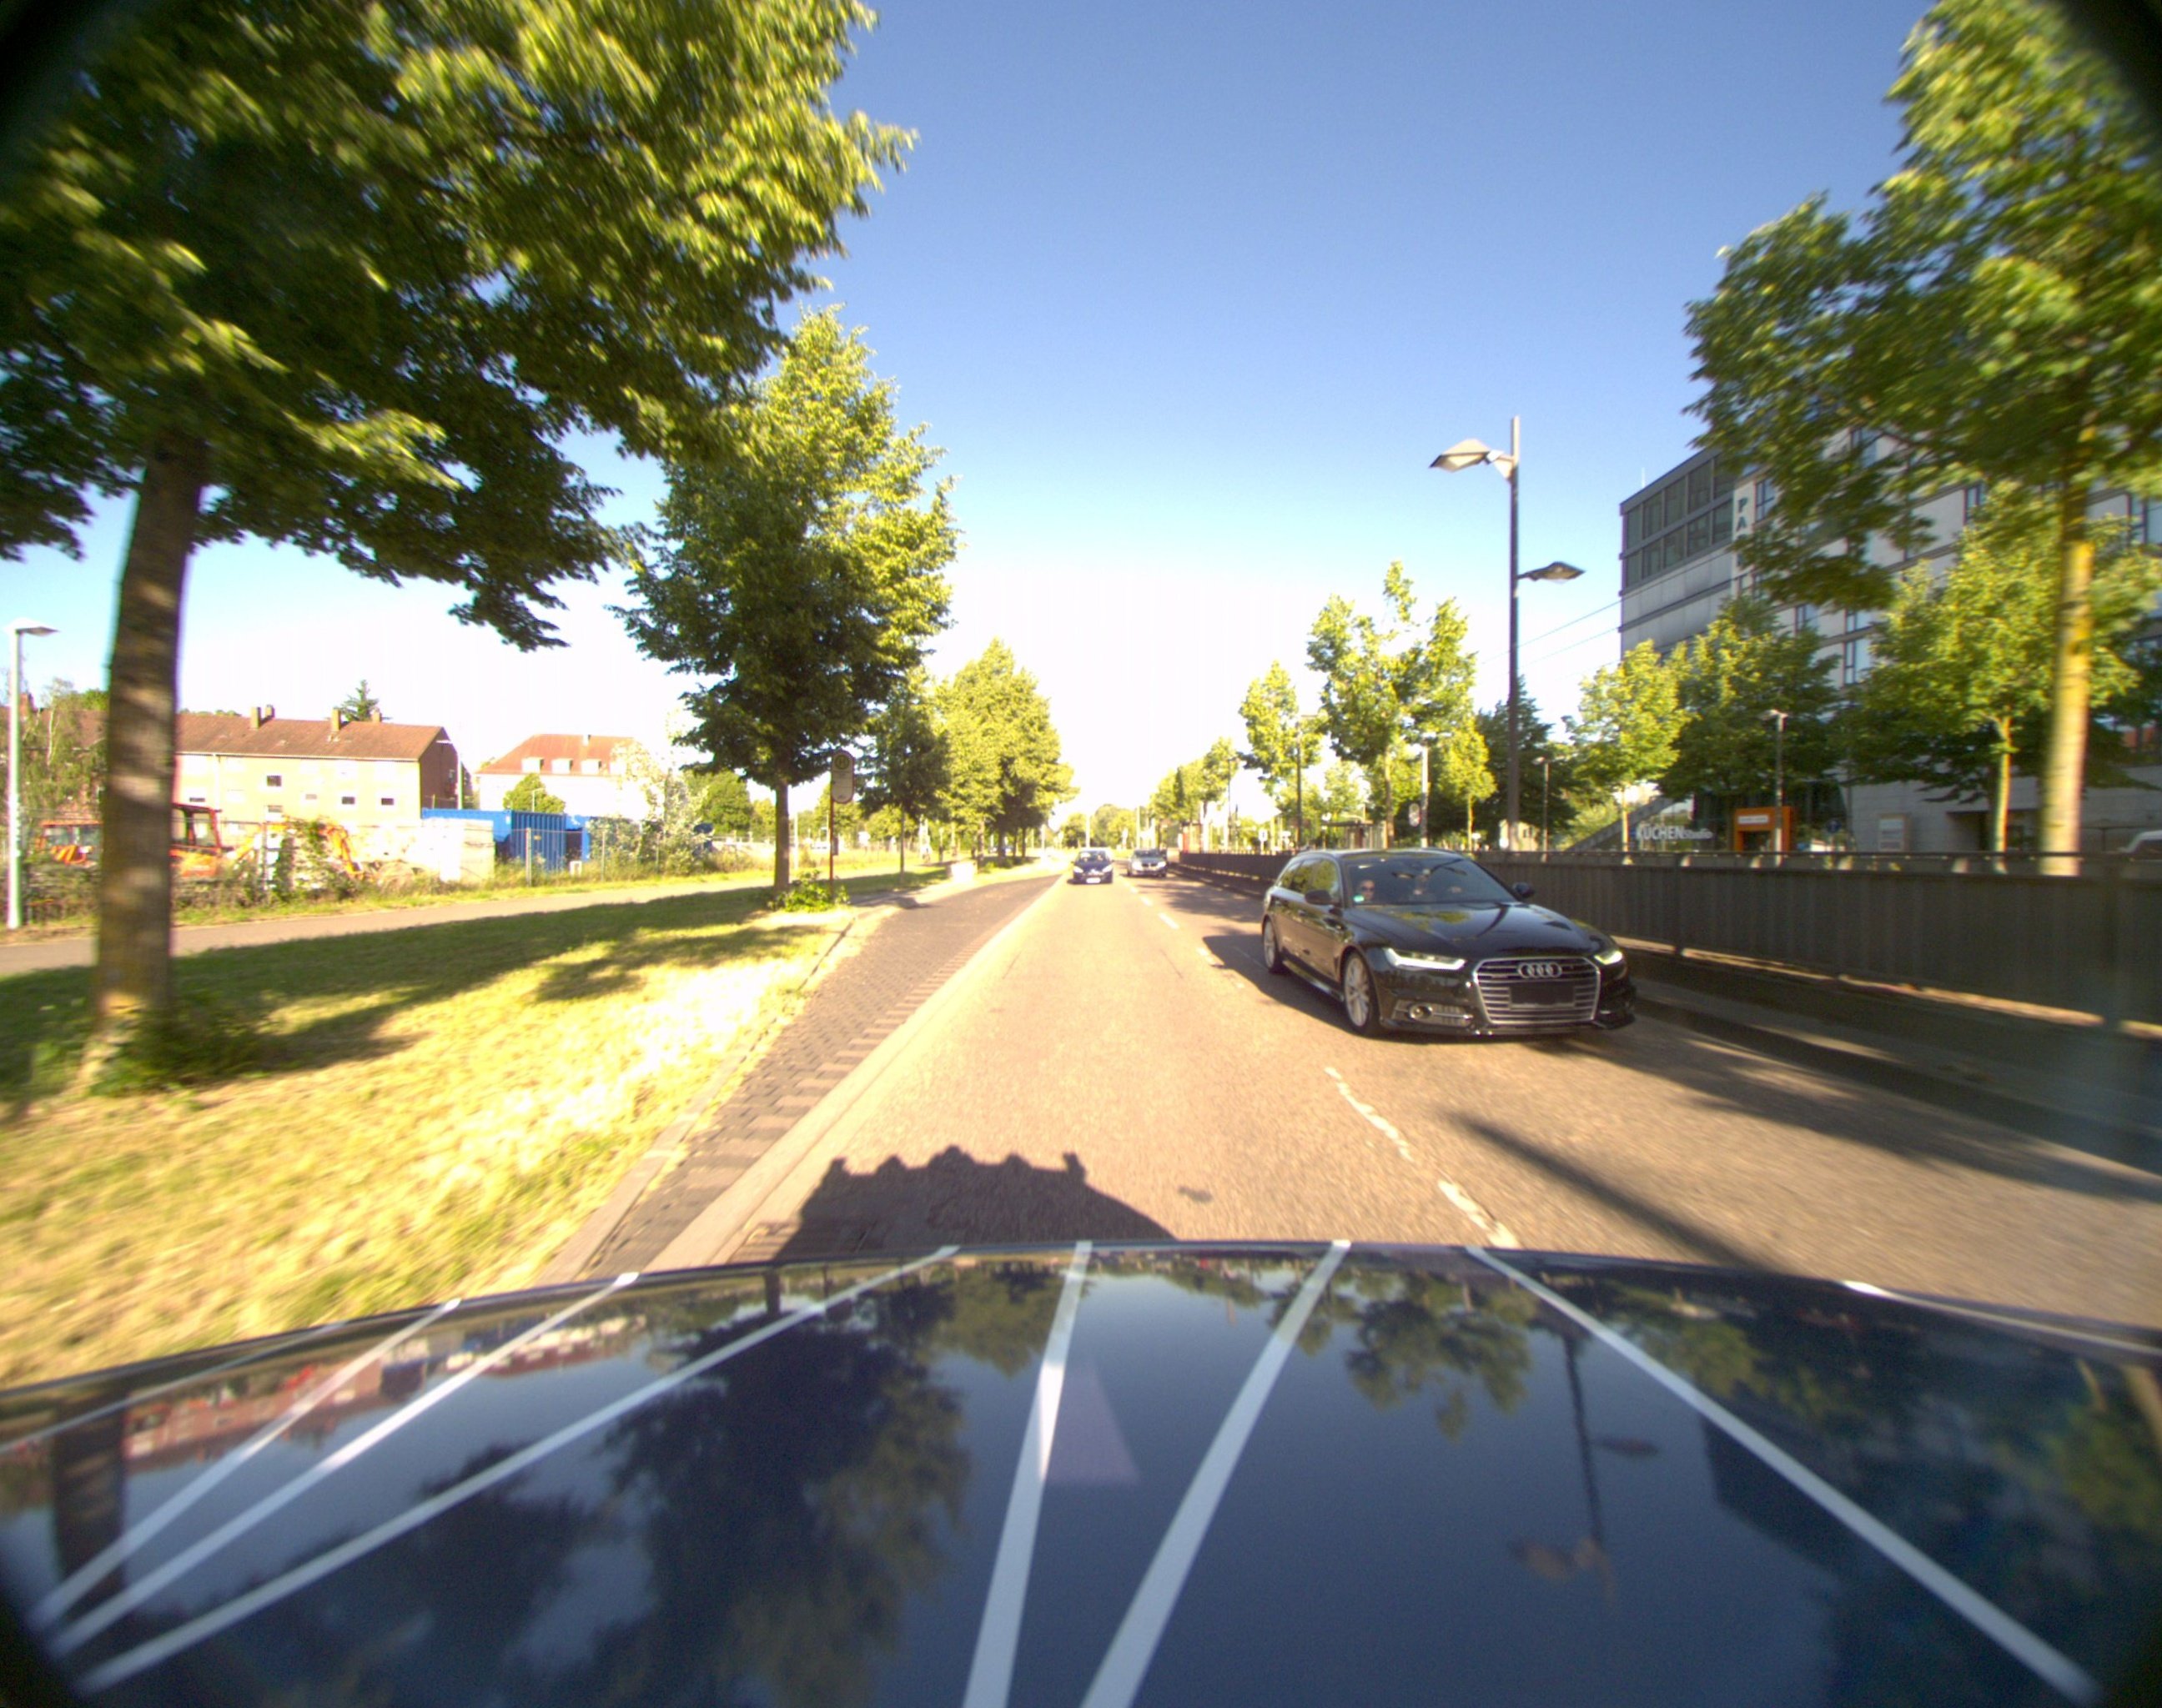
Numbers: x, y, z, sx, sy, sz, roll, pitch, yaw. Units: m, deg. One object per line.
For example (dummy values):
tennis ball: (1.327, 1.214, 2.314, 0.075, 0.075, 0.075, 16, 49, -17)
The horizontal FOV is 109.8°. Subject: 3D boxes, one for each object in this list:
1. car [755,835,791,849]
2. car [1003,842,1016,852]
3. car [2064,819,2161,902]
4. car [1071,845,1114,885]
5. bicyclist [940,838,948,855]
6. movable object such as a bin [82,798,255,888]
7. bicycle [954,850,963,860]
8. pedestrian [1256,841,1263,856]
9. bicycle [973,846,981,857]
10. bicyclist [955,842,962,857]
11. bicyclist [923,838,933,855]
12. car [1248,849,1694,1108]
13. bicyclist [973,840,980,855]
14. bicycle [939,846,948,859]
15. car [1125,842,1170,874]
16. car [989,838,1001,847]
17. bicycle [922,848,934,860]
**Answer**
car: (-45.357, -1.776, 111.829, 1.994, 2.002, 4.482, 2, 3, 41)
car: (-11.816, -1.194, 125.819, 1.701, 1.555, 3.675, 0, 1, 1)
car: (23.469, 0.150, 15.240, 1.998, 1.740, 4.227, 0, 1, 1)
car: (0.513, 0.425, 32.897, 1.763, 1.507, 3.946, -1, 3, 1)
bicyclist: (-12.129, -0.651, 67.165, 0.504, 1.464, 0.833, 0, 2, 0)
movable object such as a bin: (-21.476, -0.278, 17.971, 1.799, 2.003, 1.789, 0, 3, 2)
bicycle: (-12.756, 0.101, 79.260, 0.592, 0.955, 1.900, 0, 3, 2)
pedestrian: (18.258, -0.556, 77.728, 0.418, 1.570, 0.811, -1, 3, -2)
bicycle: (-10.951, -0.272, 79.737, 0.479, 1.076, 1.643, 0, 3, 4)
bicyclist: (-12.764, -0.466, 79.209, 0.592, 1.578, 0.965, 0, 3, 3)
bicyclist: (-13.514, -0.662, 67.187, 0.654, 1.544, 0.794, 0, 2, 1)
car: (2.971, 0.772, 7.094, 1.789, 1.518, 4.600, -2, 1, 0)
bicyclist: (-10.960, -0.685, 79.661, 0.471, 1.478, 0.915, 0, 3, 4)
bicycle: (-12.139, -0.119, 67.150, 0.507, 1.145, 1.604, 1, 1, 1)
car: (3.407, 0.180, 39.692, 1.849, 1.560, 4.527, 0, 1, -1)
car: (-15.002, -2.034, 131.997, 1.683, 1.630, 3.247, 0, 1, 1)
bicycle: (-13.497, -0.023, 67.218, 0.657, 1.006, 1.820, 0, 1, 1)
